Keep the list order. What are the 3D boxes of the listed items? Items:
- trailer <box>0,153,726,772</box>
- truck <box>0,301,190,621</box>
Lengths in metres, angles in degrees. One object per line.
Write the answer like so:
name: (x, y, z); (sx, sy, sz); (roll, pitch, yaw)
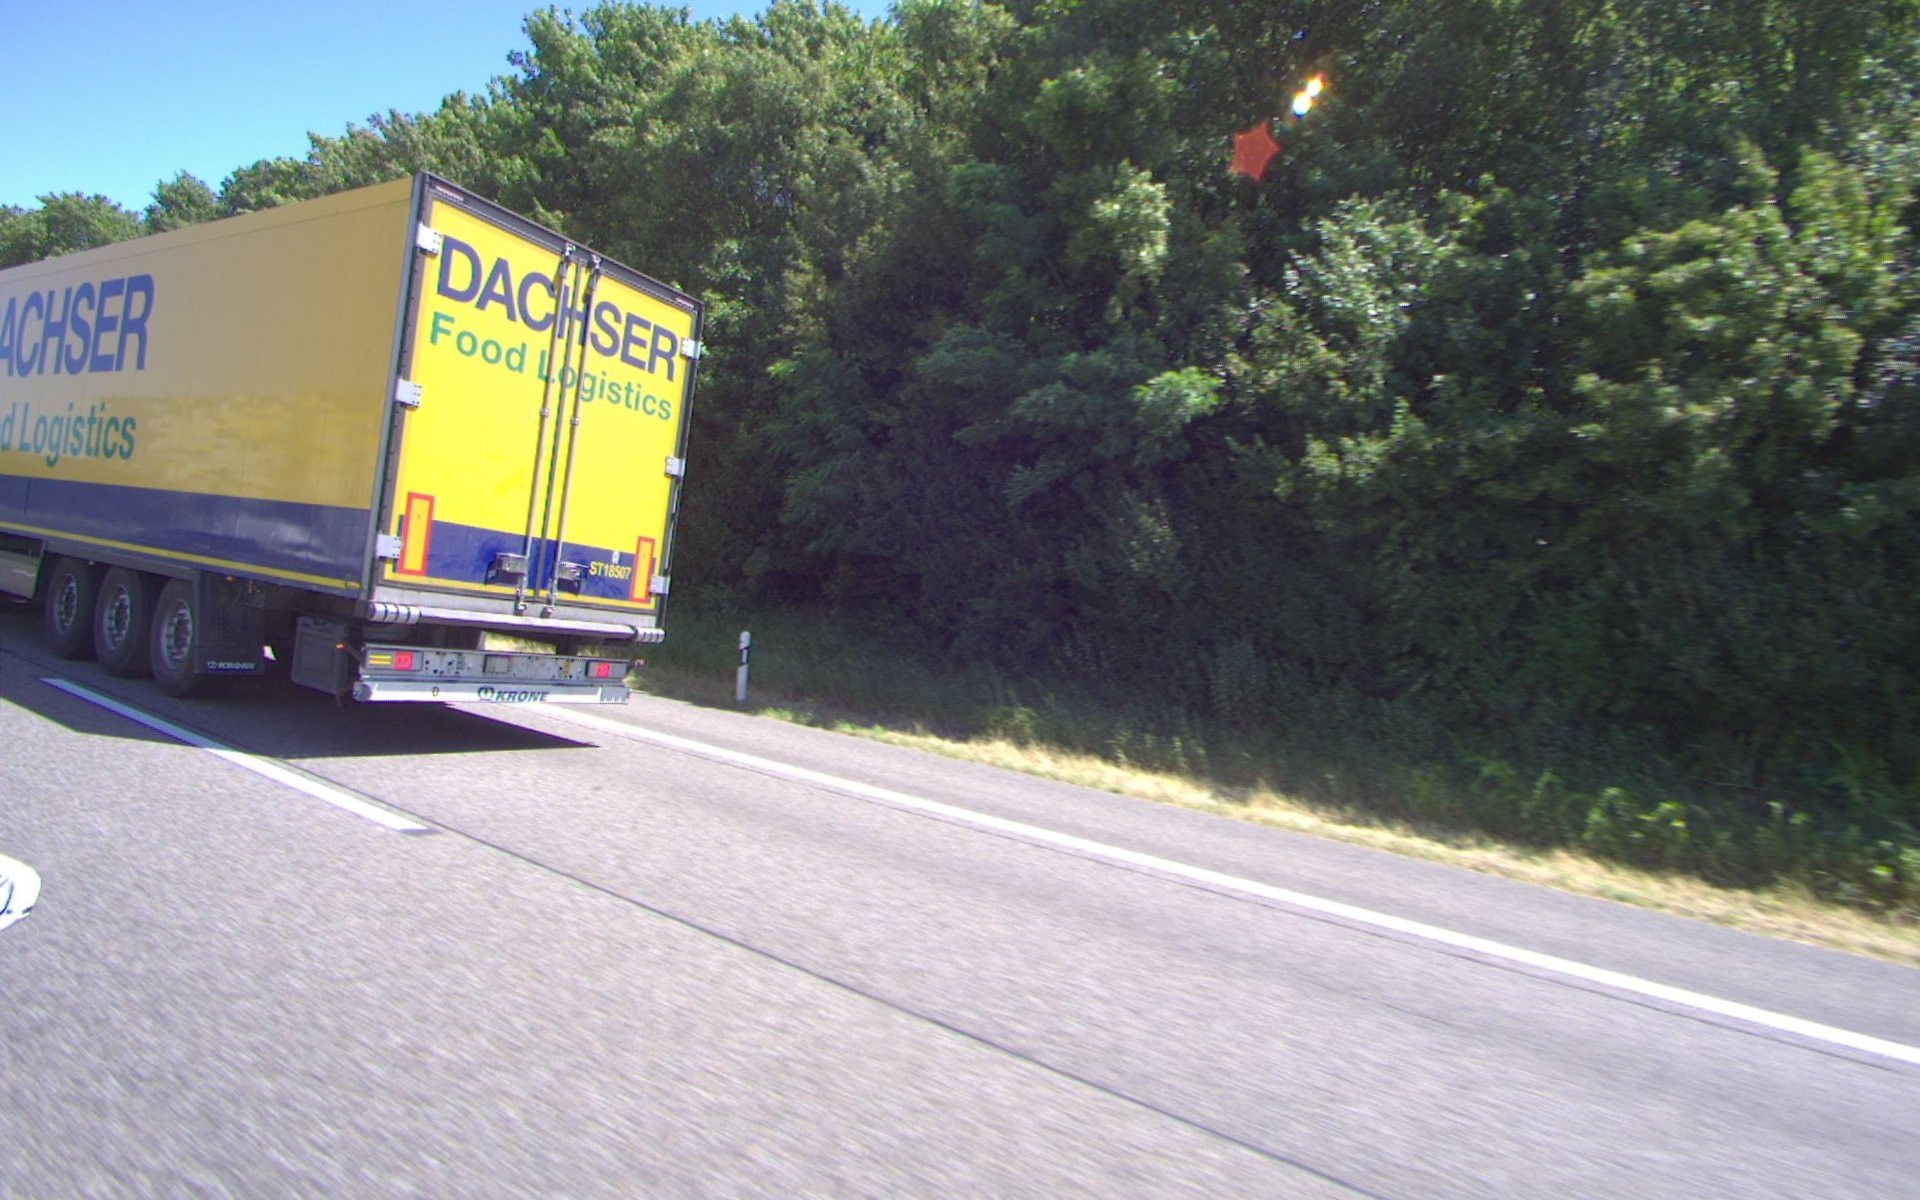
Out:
trailer: (-7.834, -1.313, 10.774); (11.493, 4.001, 2.838); (7, 0, 33)
truck: (-15.066, -2.120, 15.432); (6.536, 4.055, 2.816); (7, 0, 33)
